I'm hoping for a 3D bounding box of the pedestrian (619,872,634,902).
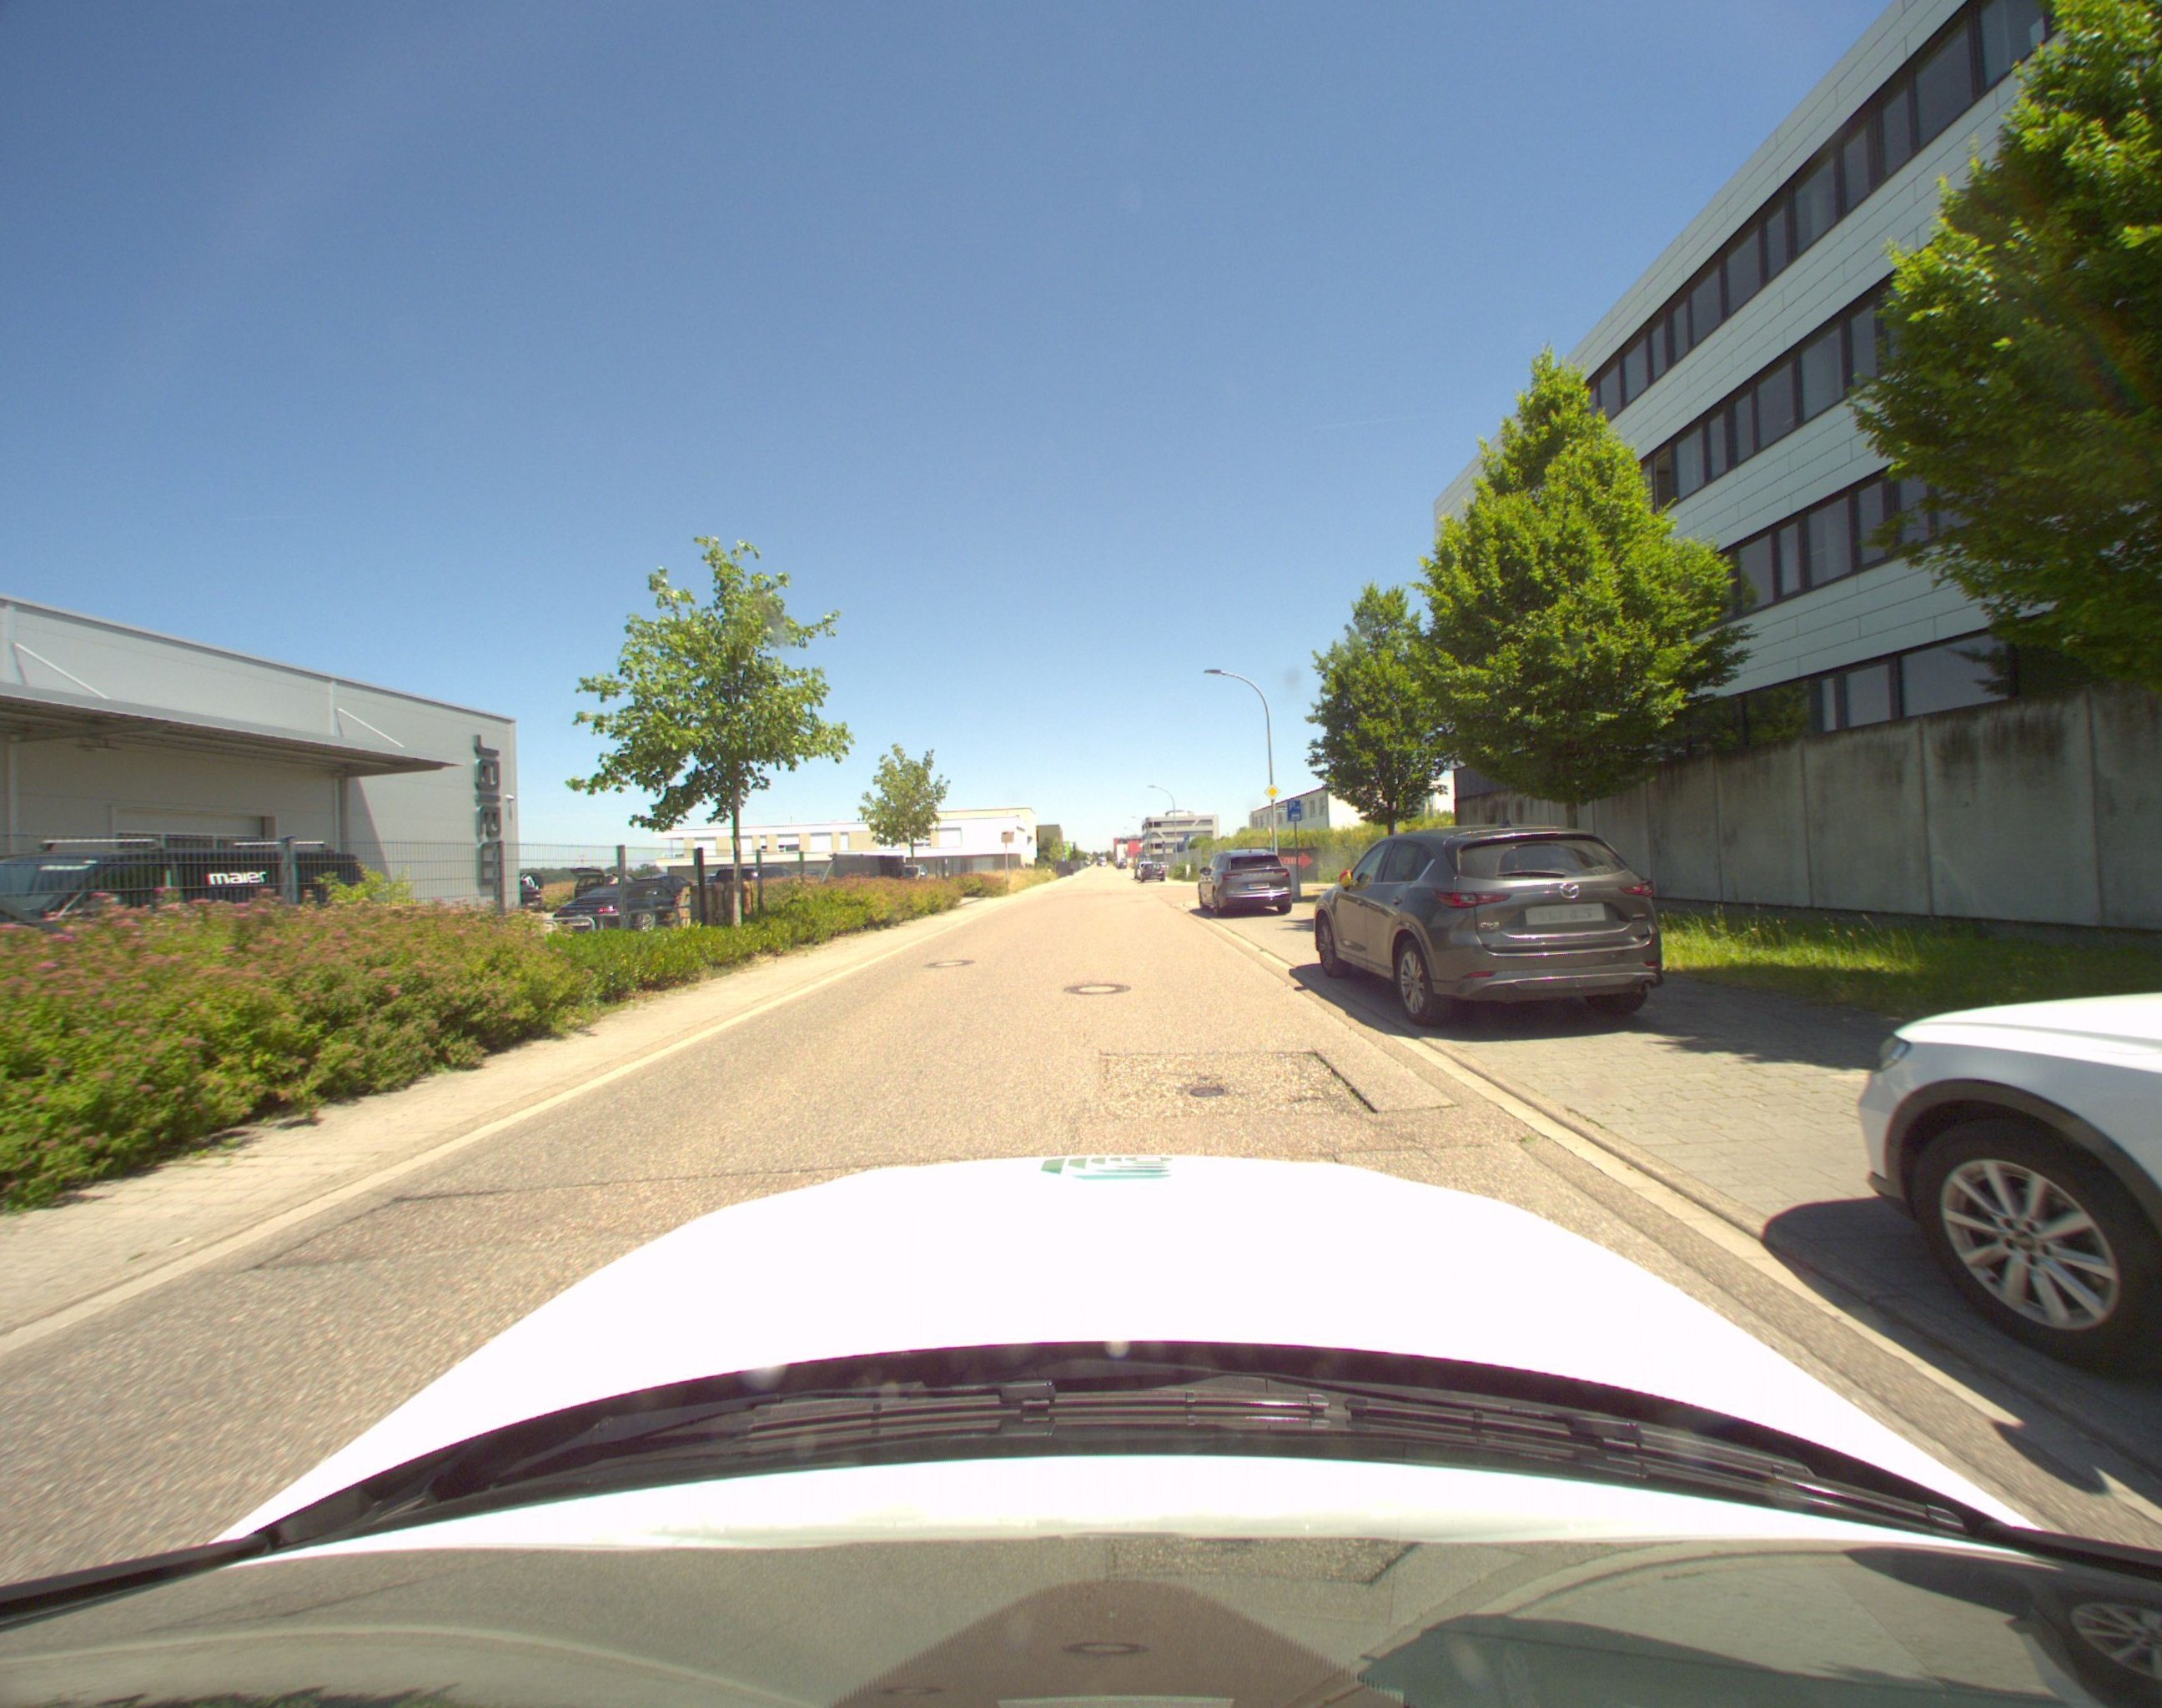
[{"bbox_3d":[-21.544,1.554,38.599,0.489,1.413,0.494,-1,-1,-12],"label":"pedestrian"}]

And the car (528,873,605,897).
[{"bbox_3d":[-28.063,1.646,44.556,1.820,1.134,3.758,-2,-1,-1],"label":"car"}]

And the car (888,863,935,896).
[{"bbox_3d":[-8.482,1.258,40.960,1.695,1.520,2.996,-2,-1,-1],"label":"car"}]

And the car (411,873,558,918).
[{"bbox_3d":[-20.878,1.437,28.599,3.841,1.420,1.799,-2,-1,3],"label":"car"}]

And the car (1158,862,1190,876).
[{"bbox_3d":[13.382,2.123,117.436,4.603,2.014,2.610,0,-1,4],"label":"car"}]

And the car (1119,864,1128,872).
[{"bbox_3d":[8.853,2.894,171.208,1.769,1.728,4.001,0,-1,2],"label":"car"}]

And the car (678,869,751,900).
[{"bbox_3d":[-17.597,1.445,39.289,1.820,1.337,3.758,-2,-1,-1],"label":"car"}]

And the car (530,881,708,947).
[{"bbox_3d":[-10.872,1.359,19.538,1.789,1.281,4.003,-2,-1,3],"label":"car"}]

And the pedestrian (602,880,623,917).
[{"bbox_3d":[-21.540,2.038,37.432,0.620,1.629,0.772,-1,-1,-12],"label":"pedestrian"}]

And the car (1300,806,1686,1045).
[{"bbox_3d":[3.639,0.540,8.229,1.751,1.663,4.365,-4,0,2],"label":"car"}]

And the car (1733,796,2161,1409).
[{"bbox_3d":[3.444,0.568,1.231,1.709,1.481,4.033,-4,0,2],"label":"car"}]

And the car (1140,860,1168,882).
[{"bbox_3d":[5.413,1.251,60.489,1.899,1.448,4.005,-4,-1,4],"label":"car"}]

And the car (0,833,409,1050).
[{"bbox_3d":[-11.298,0.869,9.995,1.992,2.099,4.697,0,-1,3],"label":"car"}]

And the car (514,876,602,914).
[{"bbox_3d":[-25.011,1.939,39.116,1.666,1.605,3.998,-1,0,-1],"label":"car"}]

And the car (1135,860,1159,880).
[{"bbox_3d":[5.646,1.315,69.402,1.899,1.546,4.005,-4,-1,4],"label":"car"}]

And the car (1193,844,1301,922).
[{"bbox_3d":[4.145,0.682,21.100,1.797,1.662,4.608,-4,0,1],"label":"car"}]

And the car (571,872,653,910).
[{"bbox_3d":[-22.797,1.756,39.741,1.666,1.605,3.998,-2,-1,-1],"label":"car"}]

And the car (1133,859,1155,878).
[{"bbox_3d":[5.891,1.345,75.859,1.899,1.546,4.005,-4,-1,4],"label":"car"}]
